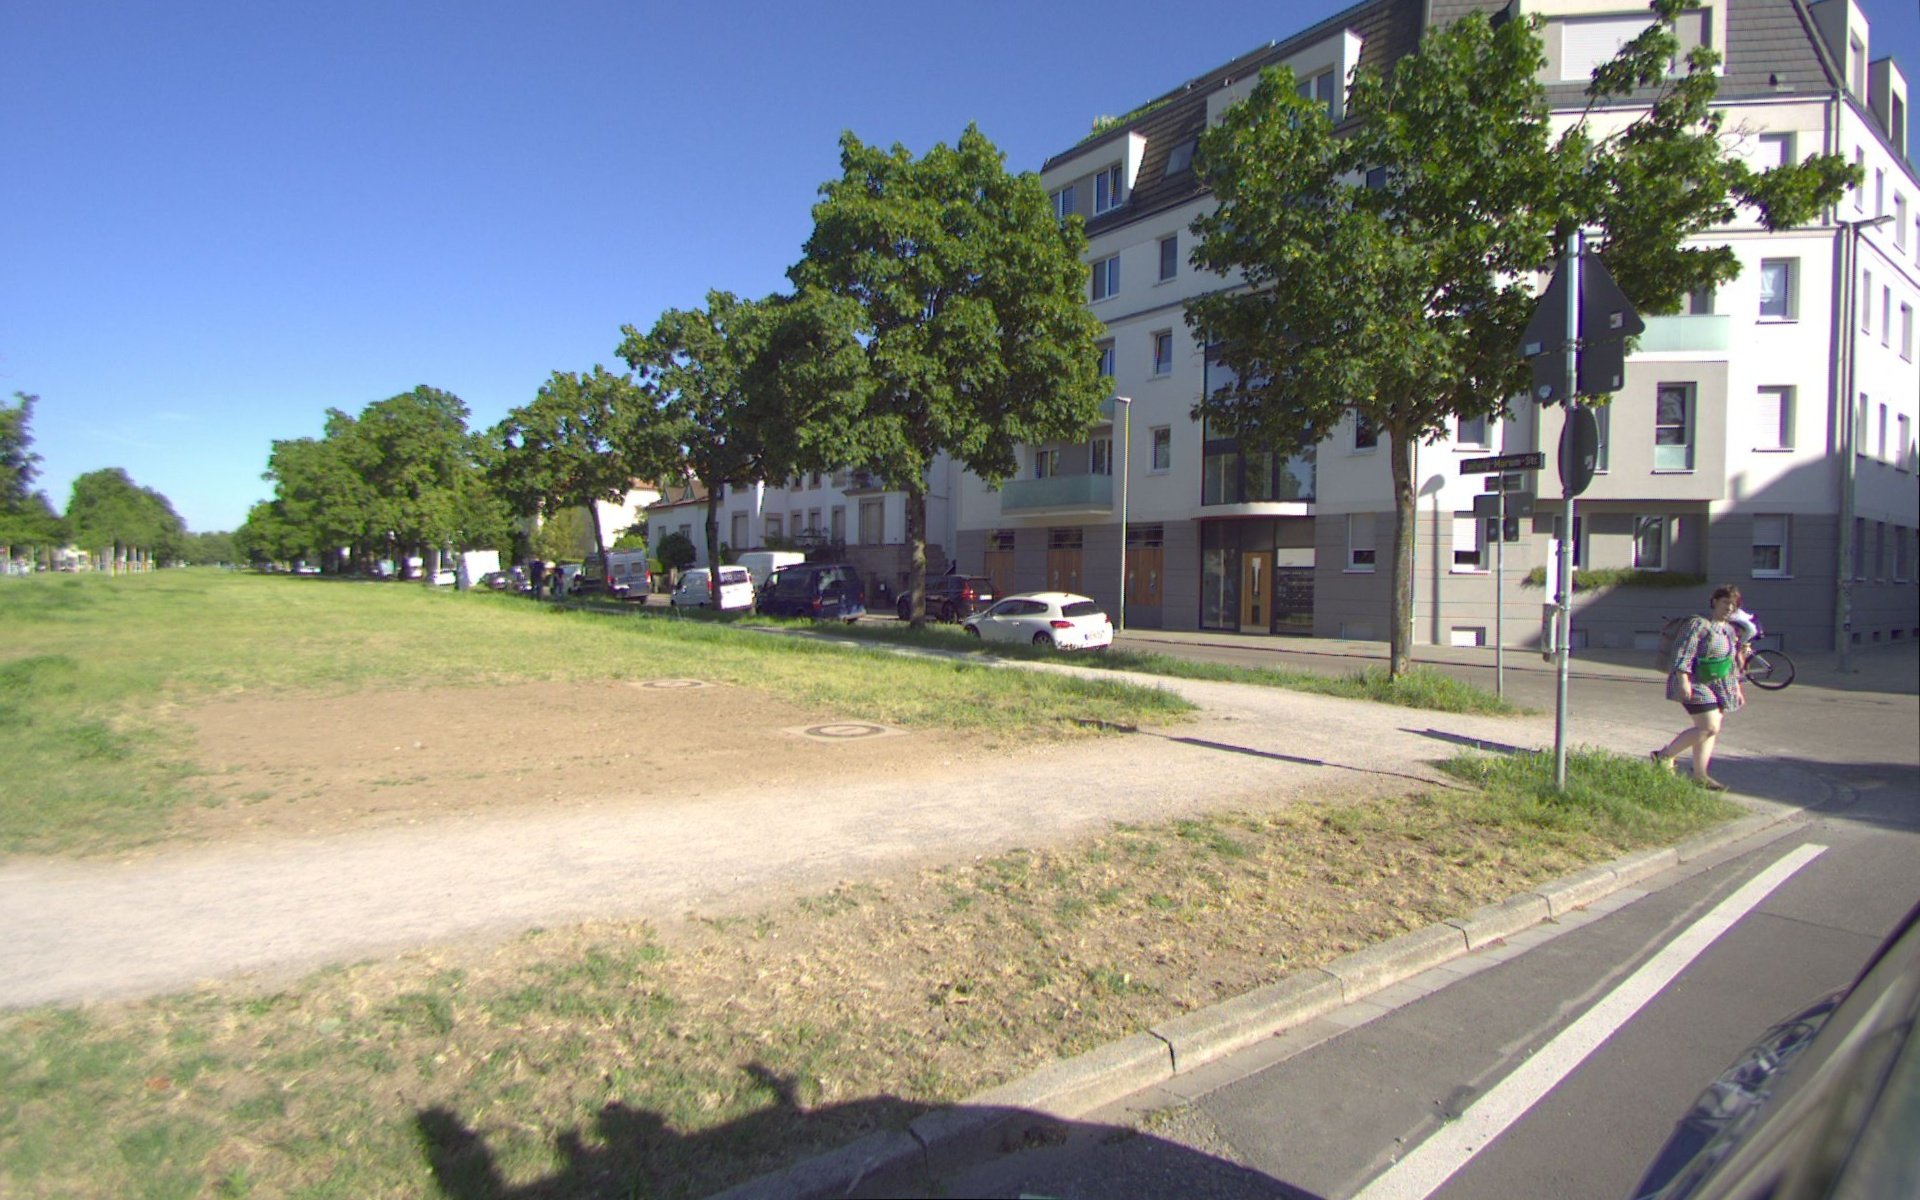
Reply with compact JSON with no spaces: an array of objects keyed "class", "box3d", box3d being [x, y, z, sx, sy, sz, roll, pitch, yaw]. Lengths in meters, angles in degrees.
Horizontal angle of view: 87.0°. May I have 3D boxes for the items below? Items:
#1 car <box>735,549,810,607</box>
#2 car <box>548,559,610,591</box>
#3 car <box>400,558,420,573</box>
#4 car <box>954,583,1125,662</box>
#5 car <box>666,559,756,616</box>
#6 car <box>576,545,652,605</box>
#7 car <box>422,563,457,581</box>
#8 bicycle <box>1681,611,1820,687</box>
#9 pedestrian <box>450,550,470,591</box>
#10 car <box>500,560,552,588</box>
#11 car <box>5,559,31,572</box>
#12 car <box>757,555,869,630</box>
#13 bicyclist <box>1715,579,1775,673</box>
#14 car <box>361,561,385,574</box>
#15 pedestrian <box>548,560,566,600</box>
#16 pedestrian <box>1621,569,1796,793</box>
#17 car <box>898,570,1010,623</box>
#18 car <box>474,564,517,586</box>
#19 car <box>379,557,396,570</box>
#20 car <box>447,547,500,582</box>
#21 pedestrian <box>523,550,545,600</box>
[{"class":"car","box3d":[-8.821,-1.076,47.442,1.985,2.580,3.995,-1,3,-35]},{"class":"car","box3d":[-20.150,-1.333,53.486,2.046,1.618,4.289,0,2,-35]},{"class":"car","box3d":[-72.838,-4.516,133.927,1.830,1.868,3.995,1,1,-35]},{"class":"car","box3d":[1.742,0.440,23.271,1.708,1.450,3.994,-5,5,-36]},{"class":"car","box3d":[-9.504,-0.546,38.419,1.841,1.906,4.426,-5,5,-34]},{"class":"car","box3d":[-16.377,-1.243,47.813,2.153,2.615,4.289,-5,5,-35]},{"class":"car","box3d":[-44.392,-2.400,86.250,2.042,1.484,4.728,0,2,-35]},{"class":"bicycle","box3d":[12.800,0.763,16.425,0.499,1.102,1.705,0,2,-44]},{"class":"pedestrian","box3d":[-23.368,-1.360,47.327,0.711,1.900,0.629,0,1,-38]},{"class":"car","box3d":[-26.750,-1.594,62.307,2.046,1.618,4.289,0,2,-35]},{"class":"car","box3d":[-105.117,-3.825,112.989,1.689,1.358,3.809,0,2,-36]},{"class":"car","box3d":[-4.664,-0.318,31.662,1.752,2.108,3.995,-5,5,-35]},{"class":"bicyclist","box3d":[12.765,0.411,16.455,0.490,1.482,0.686,0,2,-44]},{"class":"car","box3d":[-71.241,-3.941,122.798,2.042,1.484,4.728,0,2,-35]},{"class":"pedestrian","box3d":[-15.529,-0.754,38.995,0.487,1.524,0.535,0,1,-37]},{"class":"pedestrian","box3d":[6.183,0.602,8.412,1.084,1.695,0.902,2,1,36]},{"class":"car","box3d":[-0.273,-0.186,35.684,1.861,1.703,4.289,-2,3,-35]},{"class":"car","box3d":[-31.438,-1.713,68.420,1.898,1.361,4.110,0,2,-35]},{"class":"car","box3d":[-88.875,-5.699,157.066,1.831,1.868,3.995,0,2,-35]},{"class":"car","box3d":[-35.473,-2.580,73.680,2.503,2.363,5.920,0,2,-35]},{"class":"pedestrian","box3d":[-16.289,-0.964,38.702,0.632,1.900,0.629,0,1,-38]}]
